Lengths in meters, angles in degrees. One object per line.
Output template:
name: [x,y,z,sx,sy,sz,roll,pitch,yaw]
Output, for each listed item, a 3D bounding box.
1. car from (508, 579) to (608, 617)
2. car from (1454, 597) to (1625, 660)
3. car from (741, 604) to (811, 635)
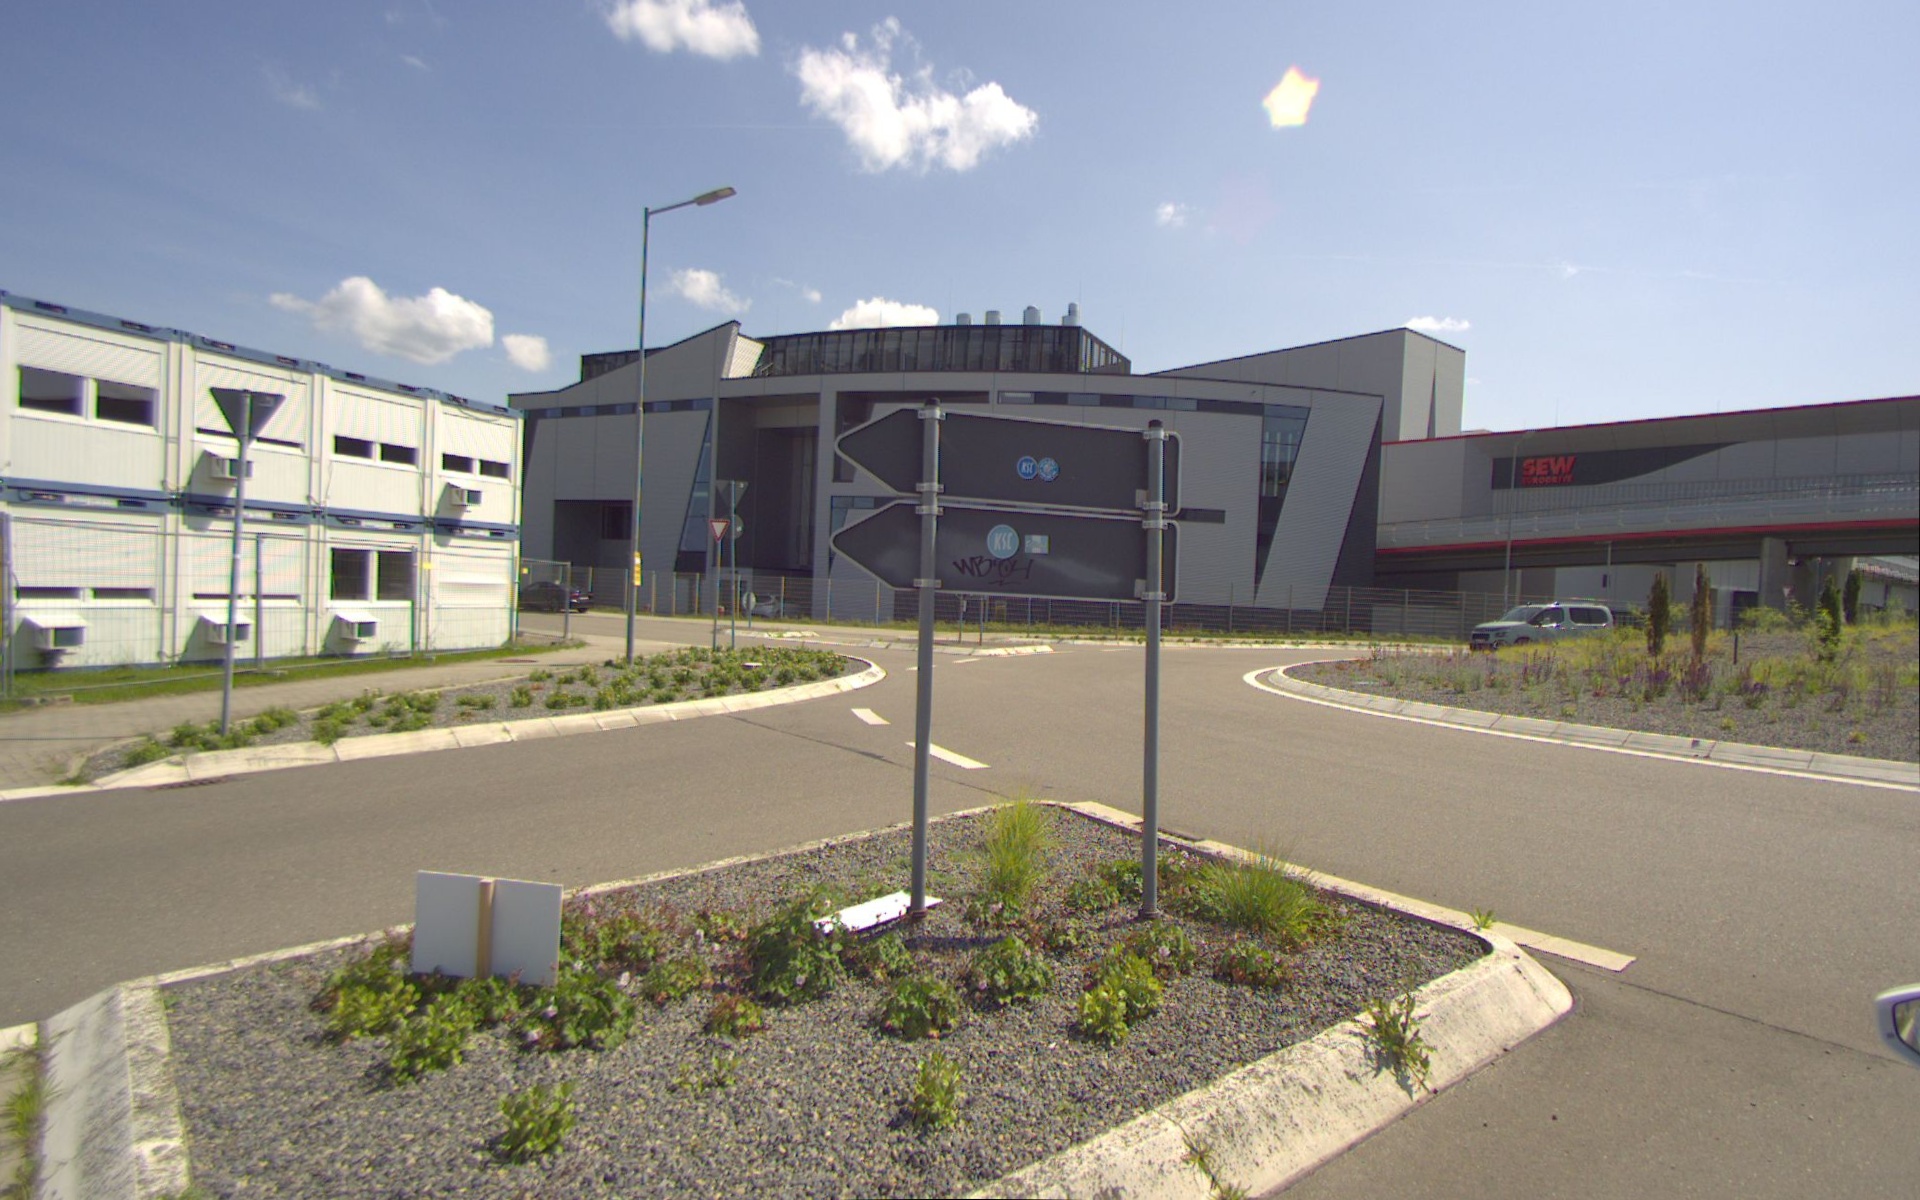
car: [-18.954,-0.113,47.360,4.232,1.570,1.998,3,1,24]
car: [18.536,0.898,32.190,4.479,1.803,1.996,2,1,-10]
car: [-11.016,1.139,60.537,1.962,1.713,4.310,3,1,25]
